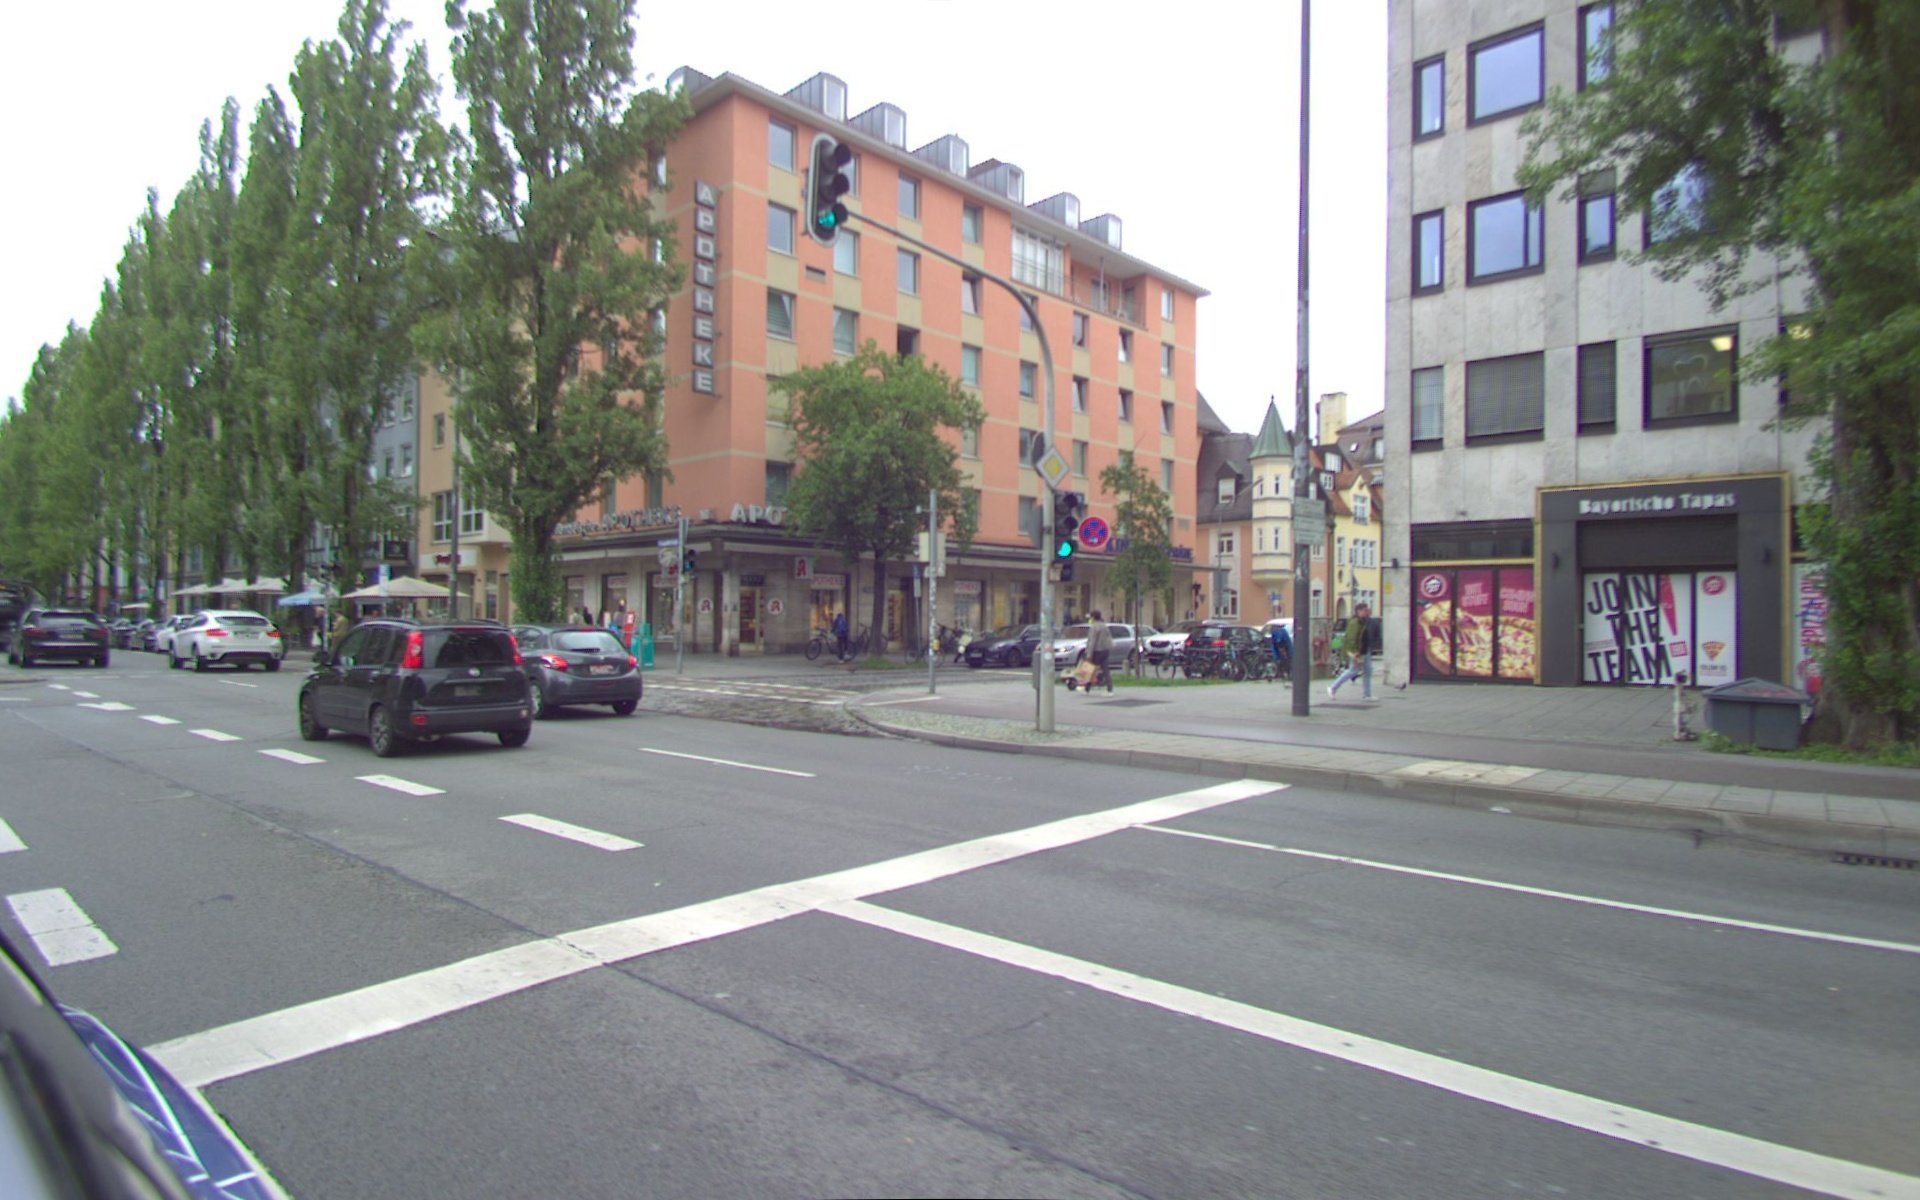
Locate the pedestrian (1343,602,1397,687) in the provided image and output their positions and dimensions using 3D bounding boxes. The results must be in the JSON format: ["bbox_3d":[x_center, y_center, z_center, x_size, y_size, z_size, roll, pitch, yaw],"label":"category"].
[{"bbox_3d":[8.947,0.962,22.087,0.689,1.801,0.822,1,-2,-32],"label":"pedestrian"}]

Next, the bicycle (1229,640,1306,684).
[{"bbox_3d":[8.658,1.742,28.532,2.051,1.193,0.447,-1,-2,25],"label":"bicycle"}]

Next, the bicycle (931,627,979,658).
[{"bbox_3d":[-0.191,1.636,39.567,0.690,1.193,2.034,-1,-2,43],"label":"bicycle"}]

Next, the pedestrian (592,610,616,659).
[{"bbox_3d":[-12.576,1.210,35.716,0.519,1.701,0.623,-1,0,42],"label":"pedestrian"}]

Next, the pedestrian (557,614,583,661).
[{"bbox_3d":[-13.230,1.268,34.354,0.548,1.595,0.649,-1,-2,42],"label":"pedestrian"}]

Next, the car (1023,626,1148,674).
[{"bbox_3d":[4.021,1.541,32.232,3.937,1.431,1.784,1,-2,-41],"label":"car"}]

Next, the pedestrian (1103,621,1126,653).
[{"bbox_3d":[6.880,1.633,45.098,0.780,1.401,0.656,-1,0,40],"label":"pedestrian"}]

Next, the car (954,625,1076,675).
[{"bbox_3d":[1.870,1.606,33.644,3.938,1.431,1.784,-1,0,-41],"label":"car"}]

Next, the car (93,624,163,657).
[{"bbox_3d":[-39.728,1.916,48.273,4.429,1.423,1.686,0,-2,39],"label":"car"}]

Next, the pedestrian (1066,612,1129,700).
[{"bbox_3d":[2.620,1.044,19.286,0.934,1.631,0.770,-1,-2,40],"label":"pedestrian"}]

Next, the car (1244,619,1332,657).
[{"bbox_3d":[13.323,1.515,41.035,1.787,1.431,4.009,0,-1,45],"label":"car"}]

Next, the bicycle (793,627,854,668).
[{"bbox_3d":[-4.346,1.506,32.373,2.031,1.193,0.417,-1,0,-42],"label":"bicycle"}]

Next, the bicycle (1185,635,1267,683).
[{"bbox_3d":[6.889,1.520,26.290,2.027,1.193,0.411,-1,-2,34],"label":"bicycle"}]

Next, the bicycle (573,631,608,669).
[{"bbox_3d":[-11.614,1.562,31.775,1.373,1.150,0.416,-1,-2,42],"label":"bicycle"}]

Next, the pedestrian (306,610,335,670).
[{"bbox_3d":[-19.728,1.213,31.255,0.725,1.809,0.995,0,0,-31],"label":"pedestrian"}]

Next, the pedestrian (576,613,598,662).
[{"bbox_3d":[-12.983,1.309,35.232,0.626,1.683,0.502,-1,-1,42],"label":"pedestrian"}]

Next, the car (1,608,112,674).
[{"bbox_3d":[-26.185,1.142,29.283,4.437,1.759,1.865,-1,-2,41],"label":"car"}]

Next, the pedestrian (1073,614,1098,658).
[{"bbox_3d":[5.124,1.483,41.430,0.780,1.780,0.656,-1,-2,40],"label":"pedestrian"}]

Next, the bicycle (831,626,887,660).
[{"bbox_3d":[-3.574,1.514,36.011,0.690,1.193,2.034,-1,-2,43],"label":"bicycle"}]

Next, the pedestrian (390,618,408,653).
[{"bbox_3d":[-26.385,1.671,47.593,0.691,1.651,0.549,-1,-2,40],"label":"pedestrian"}]

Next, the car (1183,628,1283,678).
[{"bbox_3d":[8.816,1.643,32.540,1.771,1.486,3.654,-1,-2,40],"label":"car"}]

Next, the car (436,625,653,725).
[{"bbox_3d":[-6.916,1.151,16.692,3.994,1.450,1.625,-1,-3,40],"label":"car"}]

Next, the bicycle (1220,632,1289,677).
[{"bbox_3d":[8.150,1.495,28.099,0.409,1.193,2.069,1,-2,-33],"label":"bicycle"}]

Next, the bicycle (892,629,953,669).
[{"bbox_3d":[-1.177,1.492,31.304,2.058,1.193,0.411,-1,-2,34],"label":"bicycle"}]

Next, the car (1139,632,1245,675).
[{"bbox_3d":[8.345,1.877,36.299,3.937,1.431,1.745,1,-2,-41],"label":"car"}]

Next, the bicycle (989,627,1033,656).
[{"bbox_3d":[2.137,1.703,41.990,0.690,1.193,2.034,-1,-2,43],"label":"bicycle"}]

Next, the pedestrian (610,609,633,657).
[{"bbox_3d":[-12.107,1.185,36.204,0.513,1.704,0.580,-1,-2,40],"label":"pedestrian"}]

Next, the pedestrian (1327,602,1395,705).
[{"bbox_3d":[7.117,0.925,17.955,0.941,1.753,0.719,-1,0,40],"label":"pedestrian"}]

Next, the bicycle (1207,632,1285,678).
[{"bbox_3d":[7.641,1.470,27.064,1.994,1.193,0.413,0,-2,22],"label":"bicycle"}]

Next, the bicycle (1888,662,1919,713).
[{"bbox_3d":[11.108,1.131,10.945,0.827,0.514,1.940,22,9,21],"label":"bicycle"}]

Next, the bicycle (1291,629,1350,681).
[{"bbox_3d":[9.104,1.353,25.513,0.558,1.259,2.108,-1,-2,44],"label":"bicycle"}]

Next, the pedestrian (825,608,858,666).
[{"bbox_3d":[-3.713,1.151,31.838,0.691,1.780,0.770,-1,-2,41],"label":"pedestrian"}]

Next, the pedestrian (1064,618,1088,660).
[{"bbox_3d":[4.941,1.650,43.179,0.780,1.780,0.656,-1,0,40],"label":"pedestrian"}]

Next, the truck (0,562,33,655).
[{"bbox_3d":[-41.609,0.351,42.859,8.434,3.698,2.438,-1,-2,41],"label":"truck"}]

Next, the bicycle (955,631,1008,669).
[{"bbox_3d":[0.765,1.719,35.189,2.031,1.193,0.538,-1,0,-42],"label":"bicycle"}]

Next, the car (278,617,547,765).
[{"bbox_3d":[-6.613,0.977,12.083,3.692,1.507,1.546,-1,-3,40],"label":"car"}]

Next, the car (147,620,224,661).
[{"bbox_3d":[-31.790,1.648,41.521,4.094,1.595,1.685,0,-3,41],"label":"car"}]

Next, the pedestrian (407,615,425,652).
[{"bbox_3d":[-25.852,1.582,48.091,0.691,1.731,0.549,-1,-2,40],"label":"pedestrian"}]

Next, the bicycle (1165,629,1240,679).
[{"bbox_3d":[6.144,1.354,25.733,1.852,1.193,0.411,0,0,40],"label":"bicycle"}]

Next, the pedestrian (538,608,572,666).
[{"bbox_3d":[-12.624,1.156,31.552,0.777,1.784,0.716,-1,-2,42],"label":"pedestrian"}]

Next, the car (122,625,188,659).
[{"bbox_3d":[-35.834,1.852,45.017,4.184,1.392,1.478,0,-3,41],"label":"car"}]

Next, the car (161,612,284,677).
[{"bbox_3d":[-21.037,1.226,28.803,4.633,1.729,1.818,-1,-2,41],"label":"car"}]

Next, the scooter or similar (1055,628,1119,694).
[{"bbox_3d":[2.692,1.269,21.366,1.342,1.349,0.439,1,-2,-29],"label":"scooter or similar"}]
